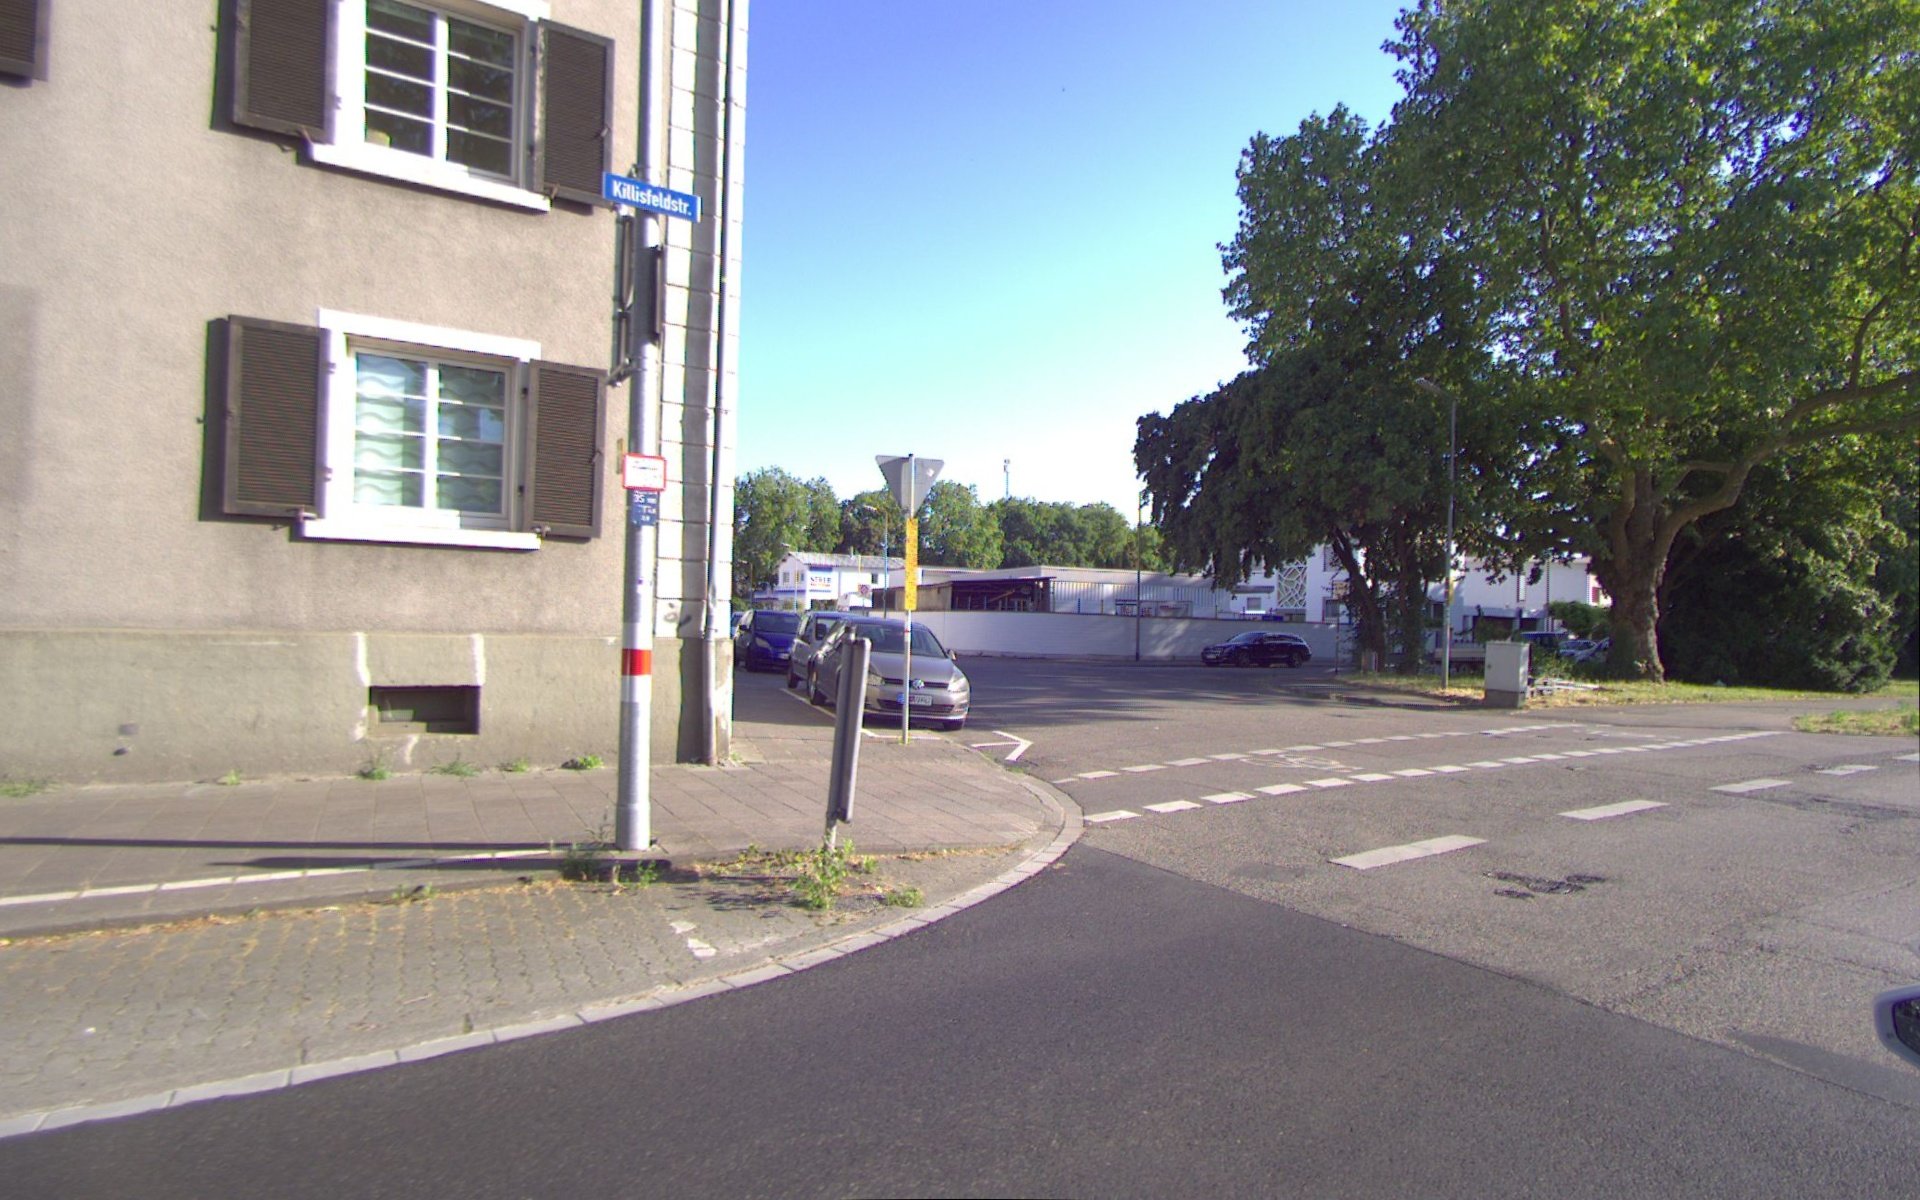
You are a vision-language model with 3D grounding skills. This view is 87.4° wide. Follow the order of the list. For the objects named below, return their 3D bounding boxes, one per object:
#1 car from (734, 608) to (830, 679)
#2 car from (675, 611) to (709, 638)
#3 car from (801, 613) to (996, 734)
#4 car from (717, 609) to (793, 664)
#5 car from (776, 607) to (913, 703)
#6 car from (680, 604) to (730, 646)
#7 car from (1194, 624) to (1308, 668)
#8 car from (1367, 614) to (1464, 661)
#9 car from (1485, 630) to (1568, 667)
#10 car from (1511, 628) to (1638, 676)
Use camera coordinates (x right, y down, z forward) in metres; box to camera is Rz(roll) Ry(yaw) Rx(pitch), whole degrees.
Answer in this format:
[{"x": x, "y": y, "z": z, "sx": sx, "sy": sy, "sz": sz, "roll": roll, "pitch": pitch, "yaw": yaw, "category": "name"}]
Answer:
[{"x": -4.614, "y": 1.049, "z": 25.657, "sx": 1.835, "sy": 1.581, "sz": 3.985, "roll": 4, "pitch": -2, "yaw": -17, "category": "car"}, {"x": -16.696, "y": 1.479, "z": 62.405, "sx": 1.835, "sy": 1.582, "sz": 3.985, "roll": 2, "pitch": -1, "yaw": -18, "category": "car"}, {"x": -1.066, "y": 0.988, "z": 14.833, "sx": 1.884, "sy": 1.436, "sz": 3.985, "roll": 5, "pitch": -2, "yaw": -17, "category": "car"}, {"x": -6.512, "y": 1.107, "z": 31.524, "sx": 1.835, "sy": 1.582, "sz": 4.662, "roll": 1, "pitch": -1, "yaw": -18, "category": "car"}, {"x": -2.340, "y": 1.031, "z": 19.388, "sx": 1.835, "sy": 1.581, "sz": 3.985, "roll": 3, "pitch": -3, "yaw": -17, "category": "car"}, {"x": -11.204, "y": 1.068, "z": 44.020, "sx": 1.835, "sy": 1.582, "sz": 3.984, "roll": 3, "pitch": 1, "yaw": -18, "category": "car"}, {"x": 11.344, "y": 1.790, "z": 39.138, "sx": 4.310, "sy": 1.582, "sz": 1.849, "roll": 2, "pitch": -1, "yaw": -32, "category": "car"}, {"x": 23.749, "y": 1.935, "z": 52.553, "sx": 1.976, "sy": 2.319, "sz": 4.295, "roll": 2, "pitch": -1, "yaw": -30, "category": "car"}, {"x": 28.334, "y": 2.429, "z": 50.222, "sx": 4.129, "sy": 1.764, "sz": 1.883, "roll": 2, "pitch": -3, "yaw": -32, "category": "car"}, {"x": 24.343, "y": 2.029, "z": 39.898, "sx": 1.708, "sy": 1.706, "sz": 3.965, "roll": 2, "pitch": -1, "yaw": -32, "category": "car"}]
